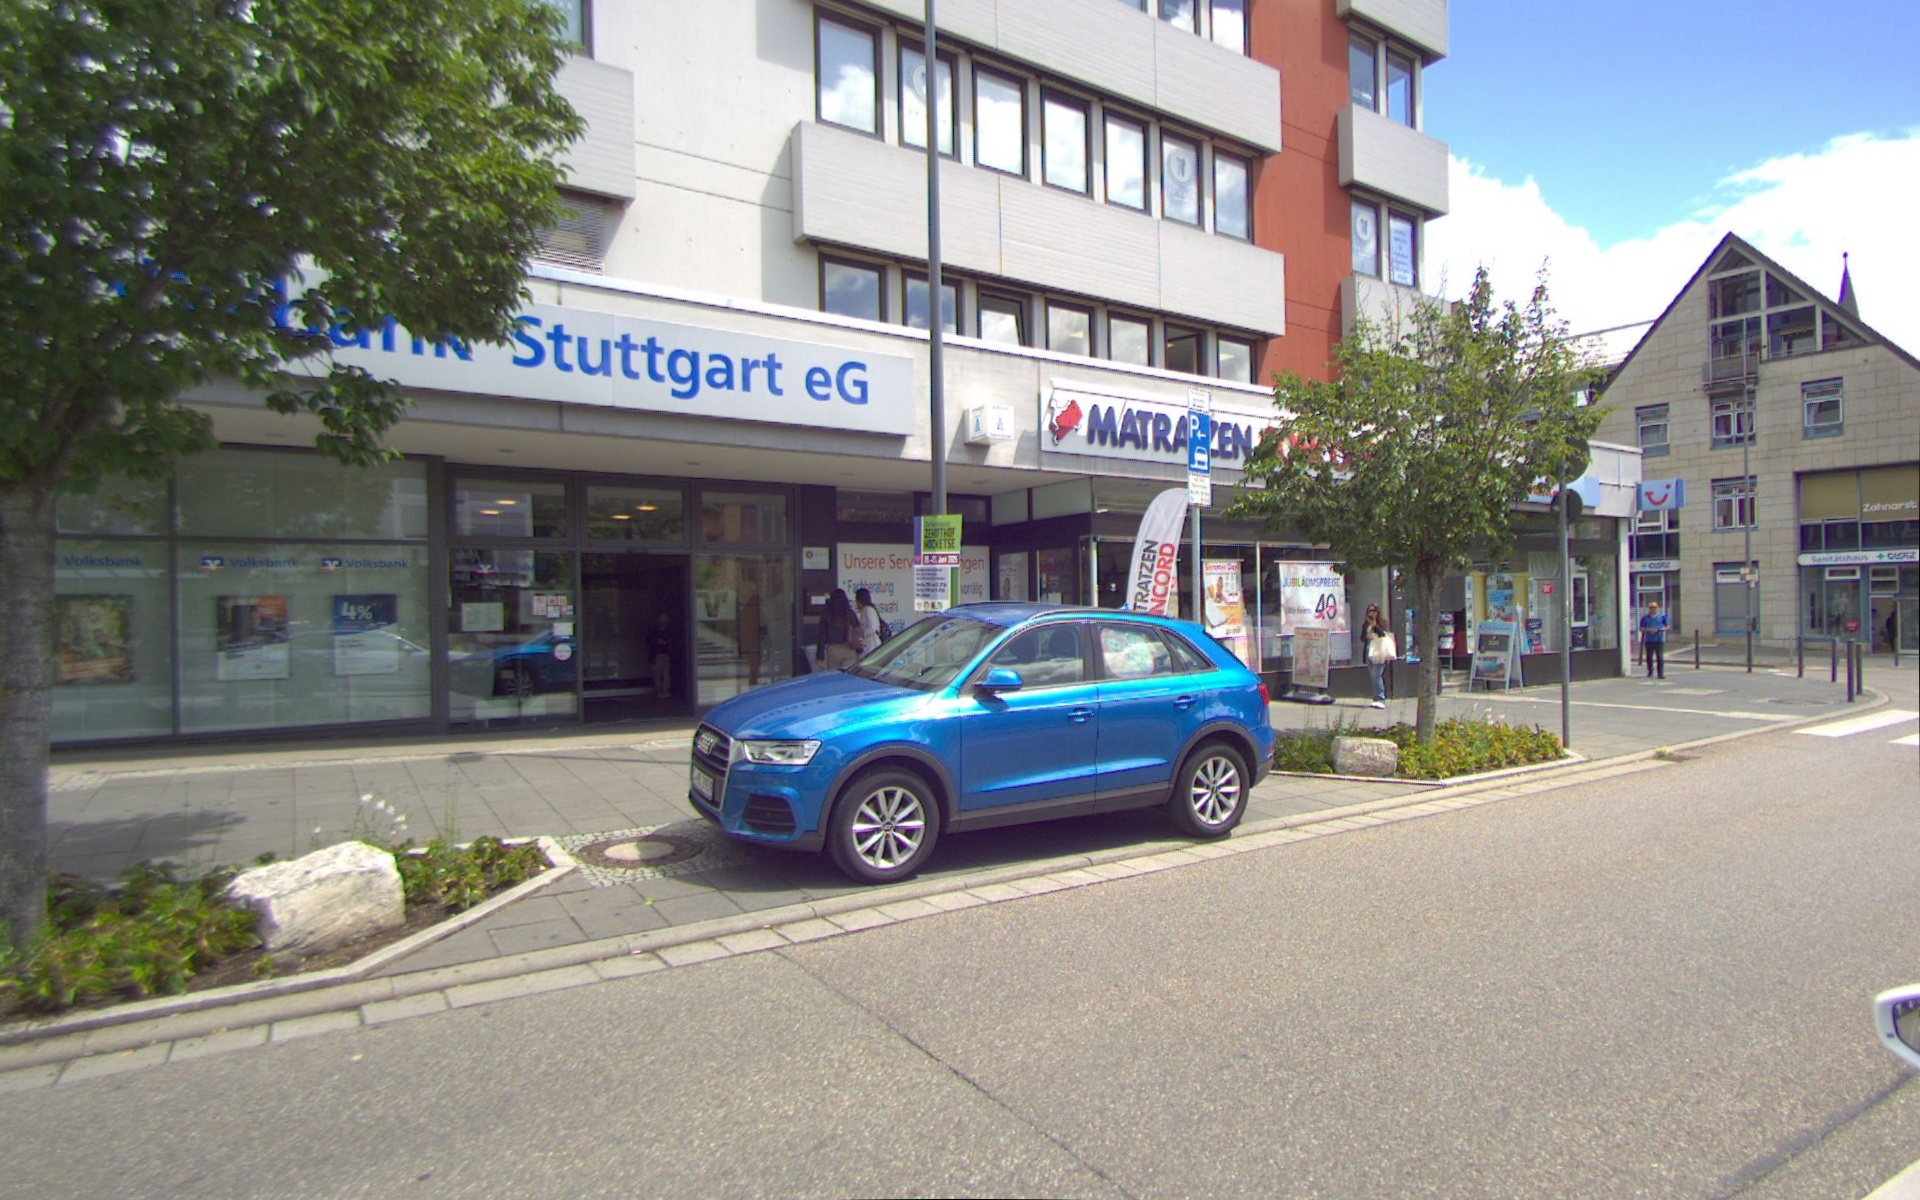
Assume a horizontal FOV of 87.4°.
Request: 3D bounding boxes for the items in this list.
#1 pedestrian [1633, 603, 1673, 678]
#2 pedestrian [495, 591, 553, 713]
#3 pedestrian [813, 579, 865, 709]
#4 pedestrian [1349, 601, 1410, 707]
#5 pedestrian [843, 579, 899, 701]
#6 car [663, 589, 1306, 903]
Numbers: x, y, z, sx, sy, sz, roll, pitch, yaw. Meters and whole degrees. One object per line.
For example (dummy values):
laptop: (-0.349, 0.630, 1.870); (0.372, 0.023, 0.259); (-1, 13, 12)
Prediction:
pedestrian: (15.355, 0.889, 22.261); (0.600, 1.625, 0.563); (0, 0, -35)
pedestrian: (-6.390, 0.747, 14.723); (0.582, 1.727, 0.637); (-1, -1, -42)
pedestrian: (-1.532, 0.548, 12.639); (0.633, 1.587, 0.586); (0, -2, -9)
pedestrian: (6.485, 0.820, 15.539); (0.630, 1.609, 0.585); (1, 0, -25)
pedestrian: (-1.192, 0.540, 13.442); (0.580, 1.587, 0.507); (1, -2, -31)
car: (0.279, 0.805, 7.098); (4.280, 1.621, 1.686); (1, 1, -30)
